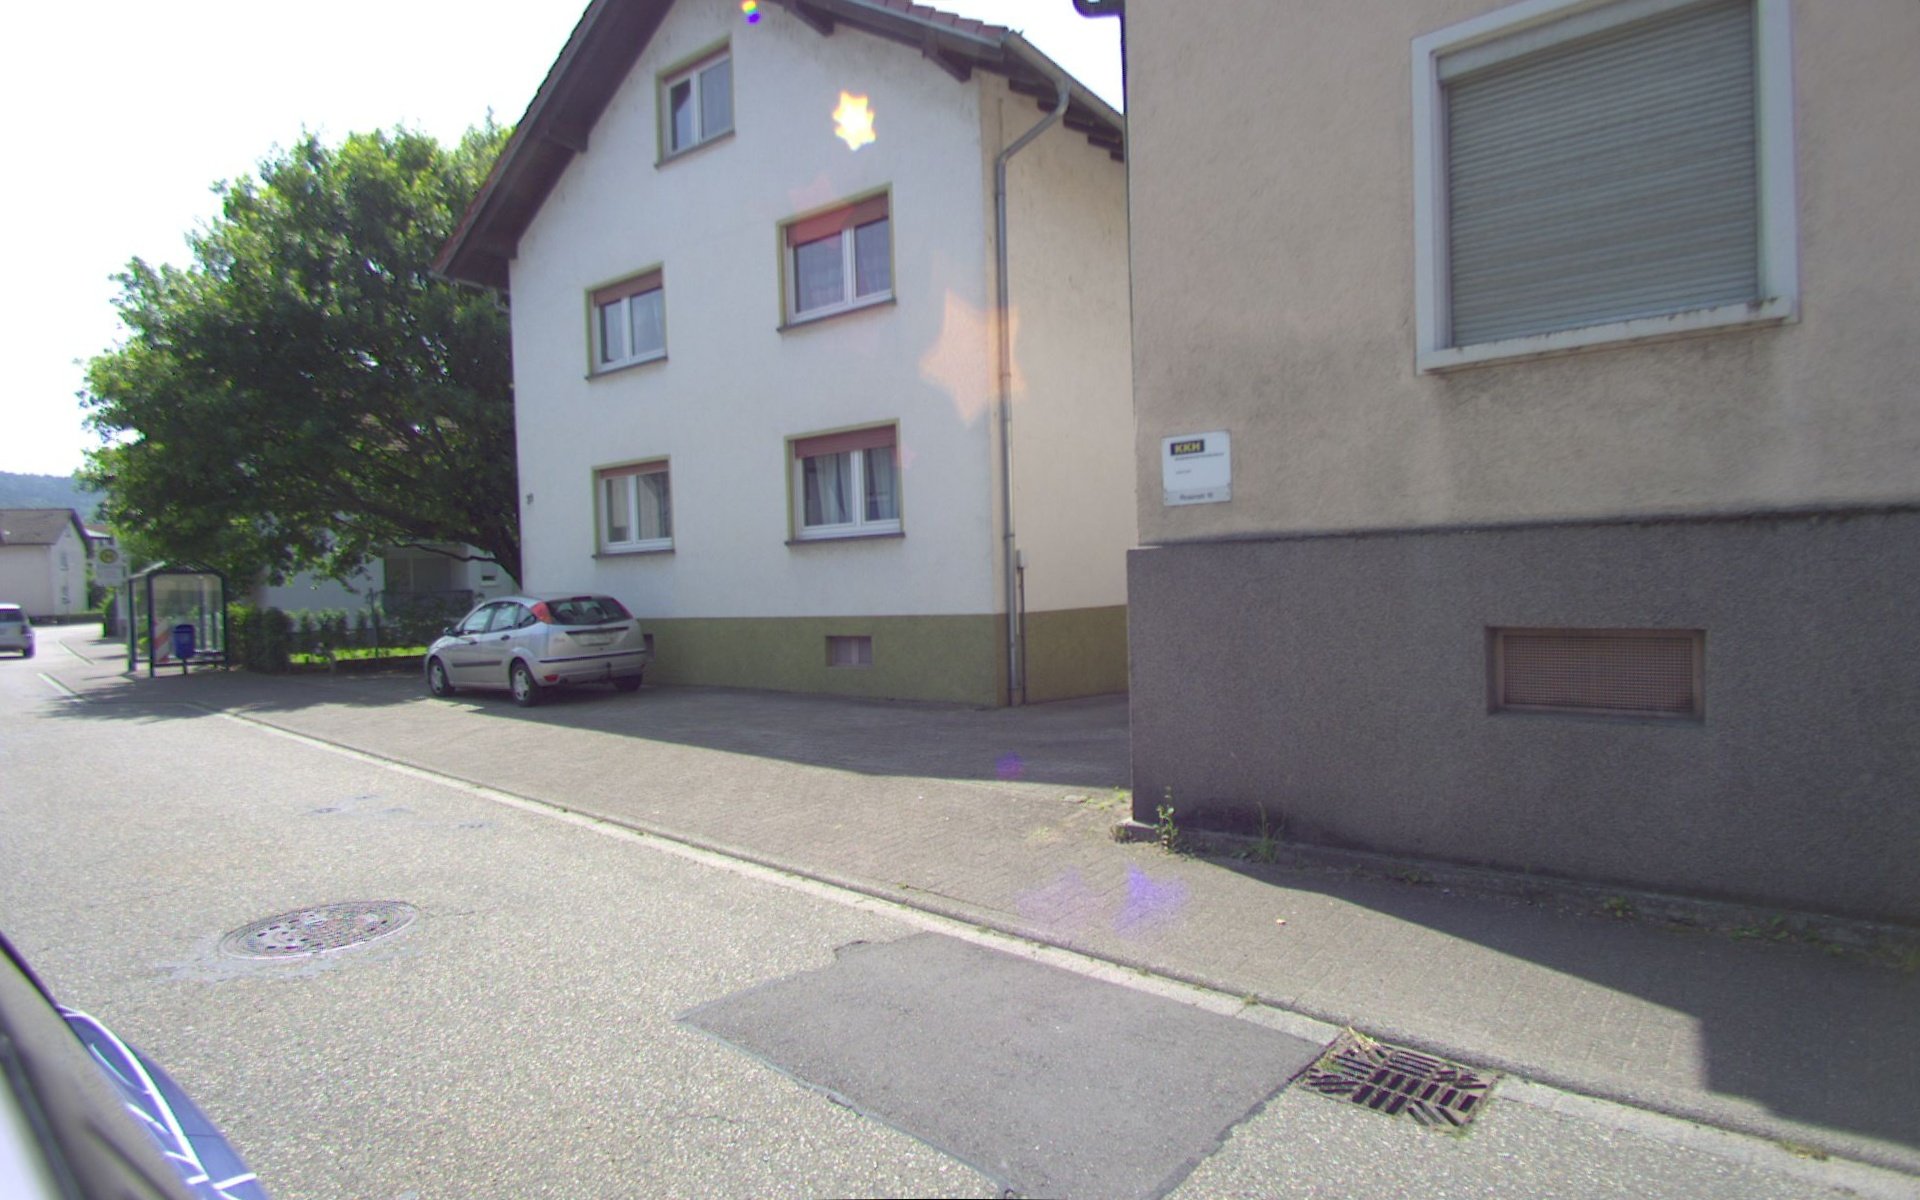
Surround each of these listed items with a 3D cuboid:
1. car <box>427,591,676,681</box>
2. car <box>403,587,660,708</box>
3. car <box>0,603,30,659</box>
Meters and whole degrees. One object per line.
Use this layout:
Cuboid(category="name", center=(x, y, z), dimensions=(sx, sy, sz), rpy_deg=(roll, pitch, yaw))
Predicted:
Cuboid(category="car", center=(-7.805, 0.636, 19.621), dimensions=(1.773, 1.550, 4.115), rpy_deg=(-1, -1, 42))
Cuboid(category="car", center=(-6.239, 0.625, 14.548), dimensions=(4.053, 1.445, 1.760), rpy_deg=(-2, 1, 41))
Cuboid(category="car", center=(-32.006, 1.004, 33.360), dimensions=(1.863, 1.780, 4.334), rpy_deg=(-1, 0, -44))
